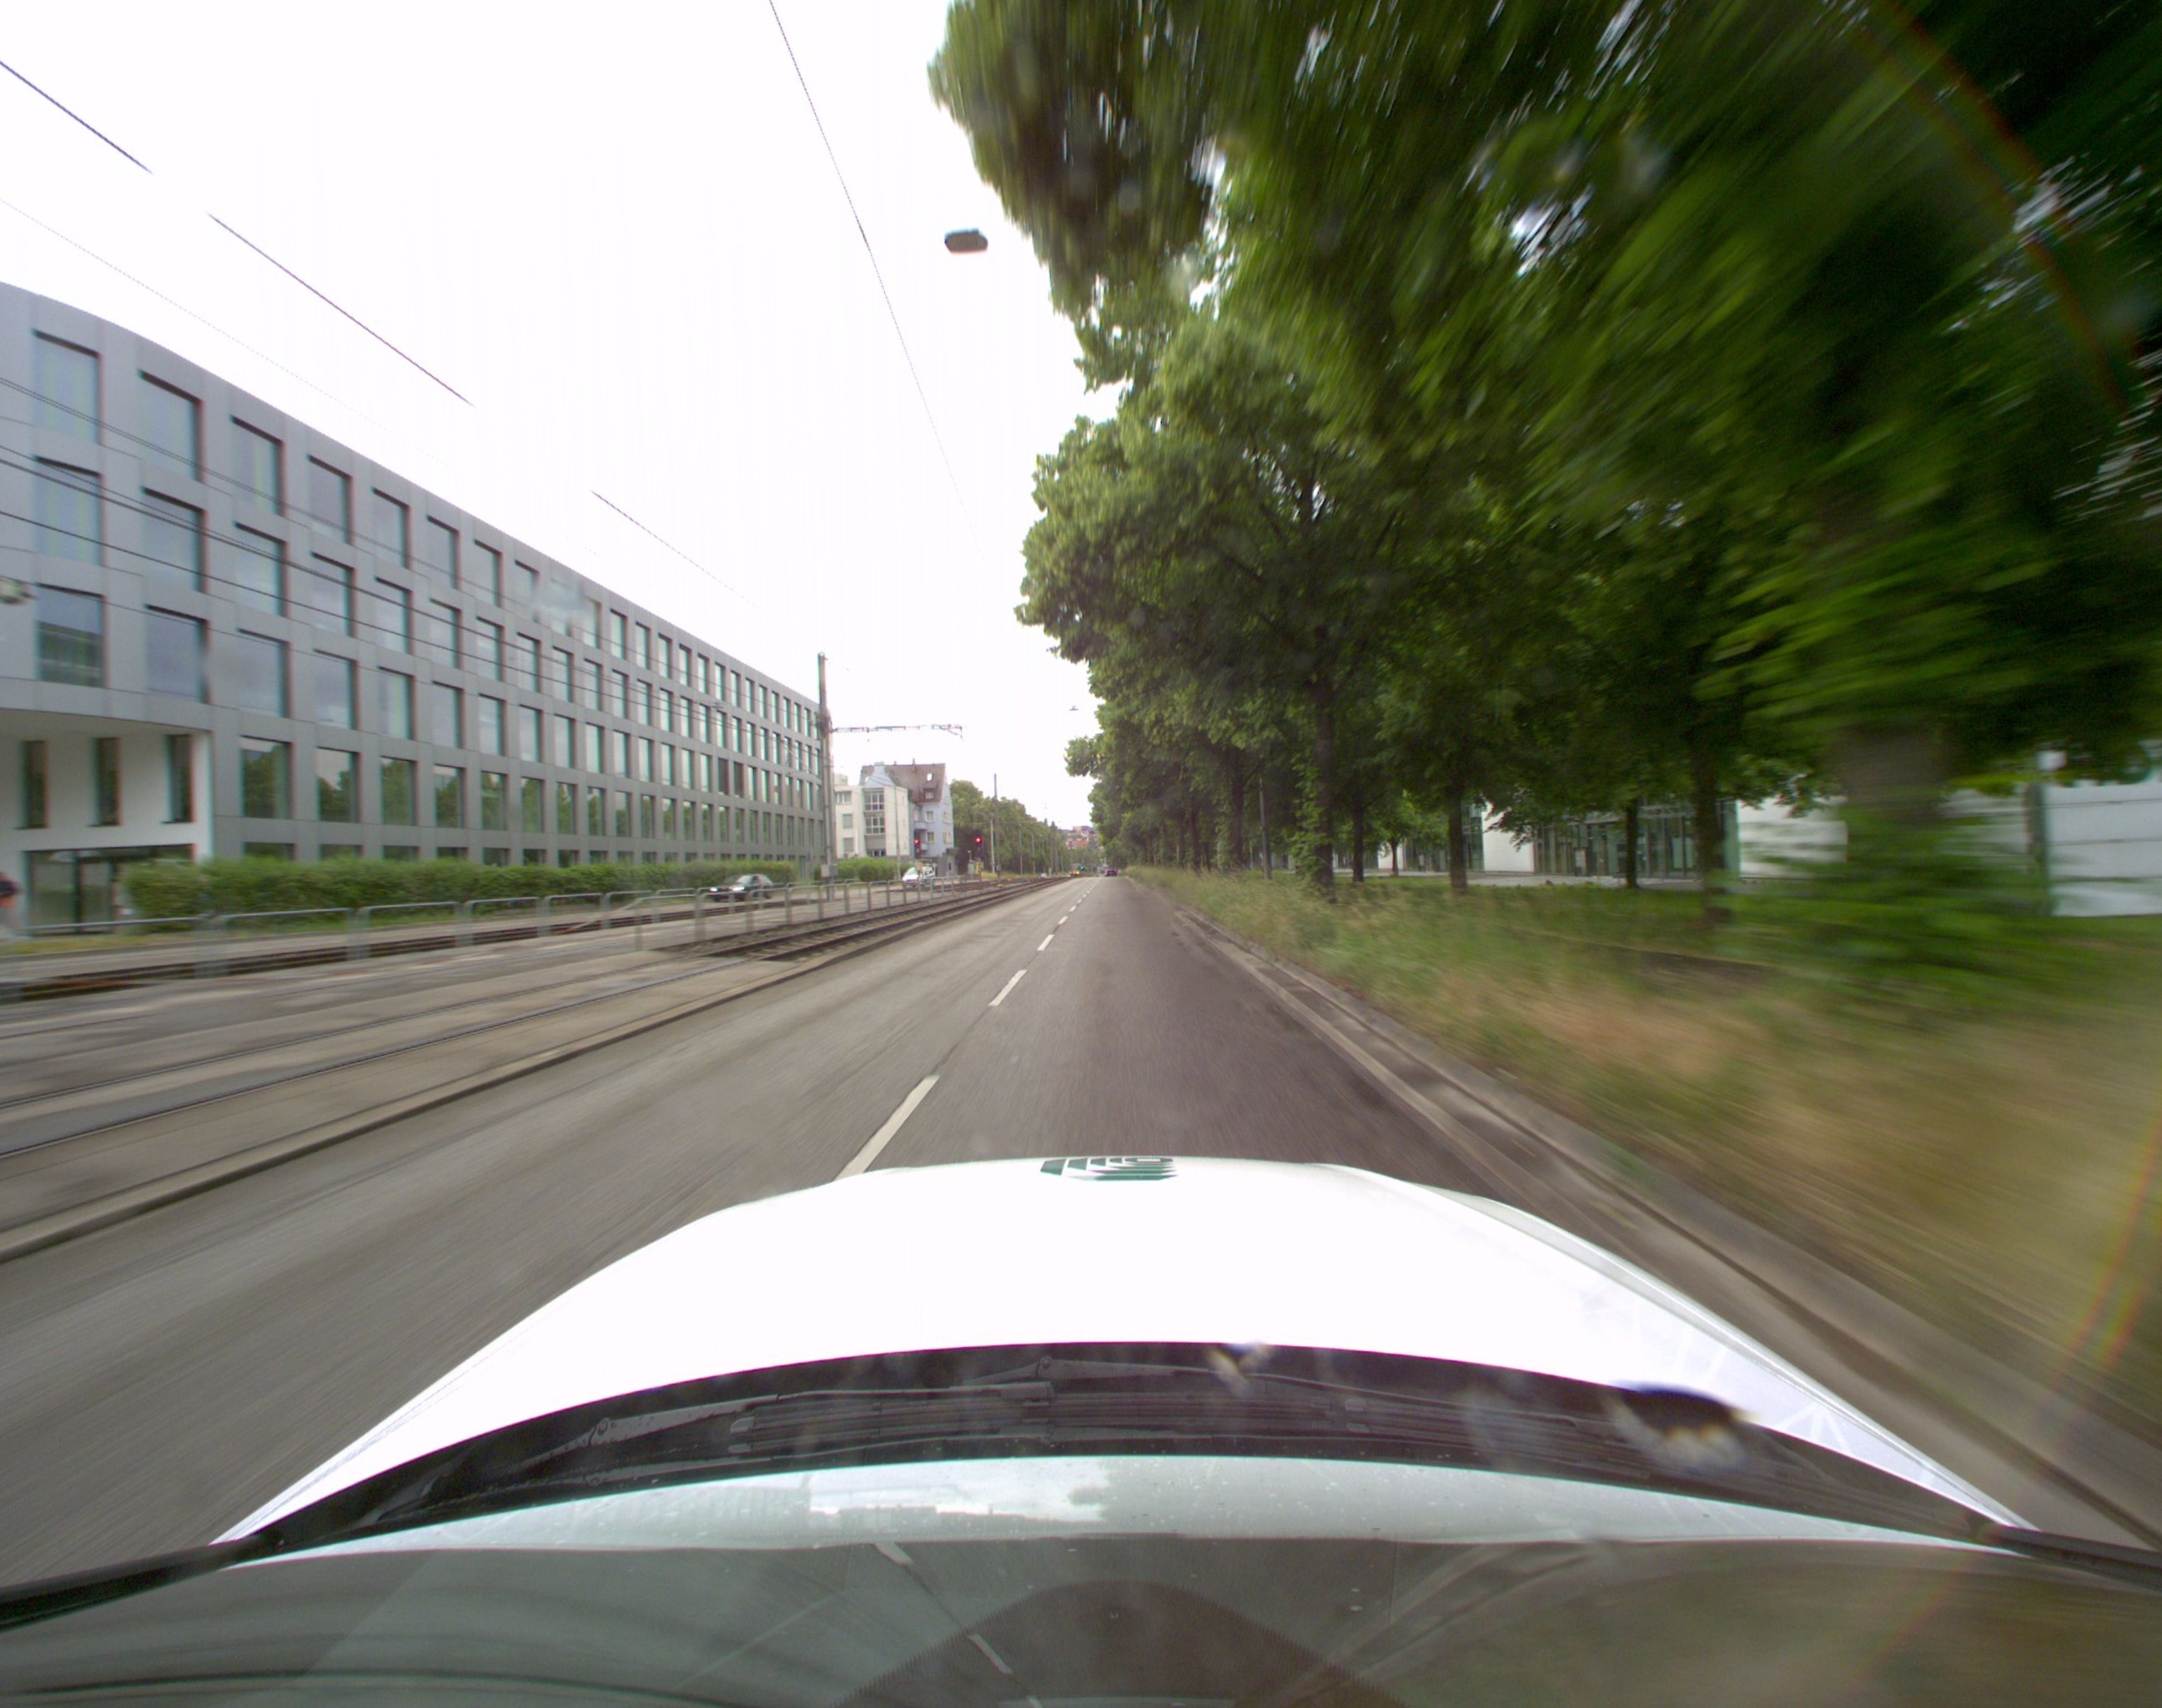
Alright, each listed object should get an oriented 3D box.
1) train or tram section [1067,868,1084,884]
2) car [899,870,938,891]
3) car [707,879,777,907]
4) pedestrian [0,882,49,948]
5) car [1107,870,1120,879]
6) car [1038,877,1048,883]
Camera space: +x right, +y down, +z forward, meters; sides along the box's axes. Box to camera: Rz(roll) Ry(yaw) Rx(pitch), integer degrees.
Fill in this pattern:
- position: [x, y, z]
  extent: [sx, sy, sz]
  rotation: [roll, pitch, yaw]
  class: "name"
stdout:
- position: [-1.400, 5.898, 213.763]
  extent: [3.200, 3.797, 14.800]
  rotation: [-2, -3, 4]
  class: "train or tram section"
- position: [-13.466, 2.200, 67.841]
  extent: [1.894, 1.645, 4.888]
  rotation: [-2, -2, 3]
  class: "car"
- position: [-18.101, 2.031, 43.675]
  extent: [1.791, 1.347, 4.261]
  rotation: [-2, -2, 2]
  class: "car"
- position: [-26.950, 1.526, 20.530]
  extent: [0.721, 1.648, 0.846]
  rotation: [-1, -2, 2]
  class: "pedestrian"
- position: [5.296, 3.281, 130.927]
  extent: [1.974, 1.441, 4.476]
  rotation: [-2, -2, 2]
  class: "car"
- position: [-8.937, 6.198, 191.041]
  extent: [1.894, 1.325, 4.829]
  rotation: [-2, -3, 3]
  class: "car"
